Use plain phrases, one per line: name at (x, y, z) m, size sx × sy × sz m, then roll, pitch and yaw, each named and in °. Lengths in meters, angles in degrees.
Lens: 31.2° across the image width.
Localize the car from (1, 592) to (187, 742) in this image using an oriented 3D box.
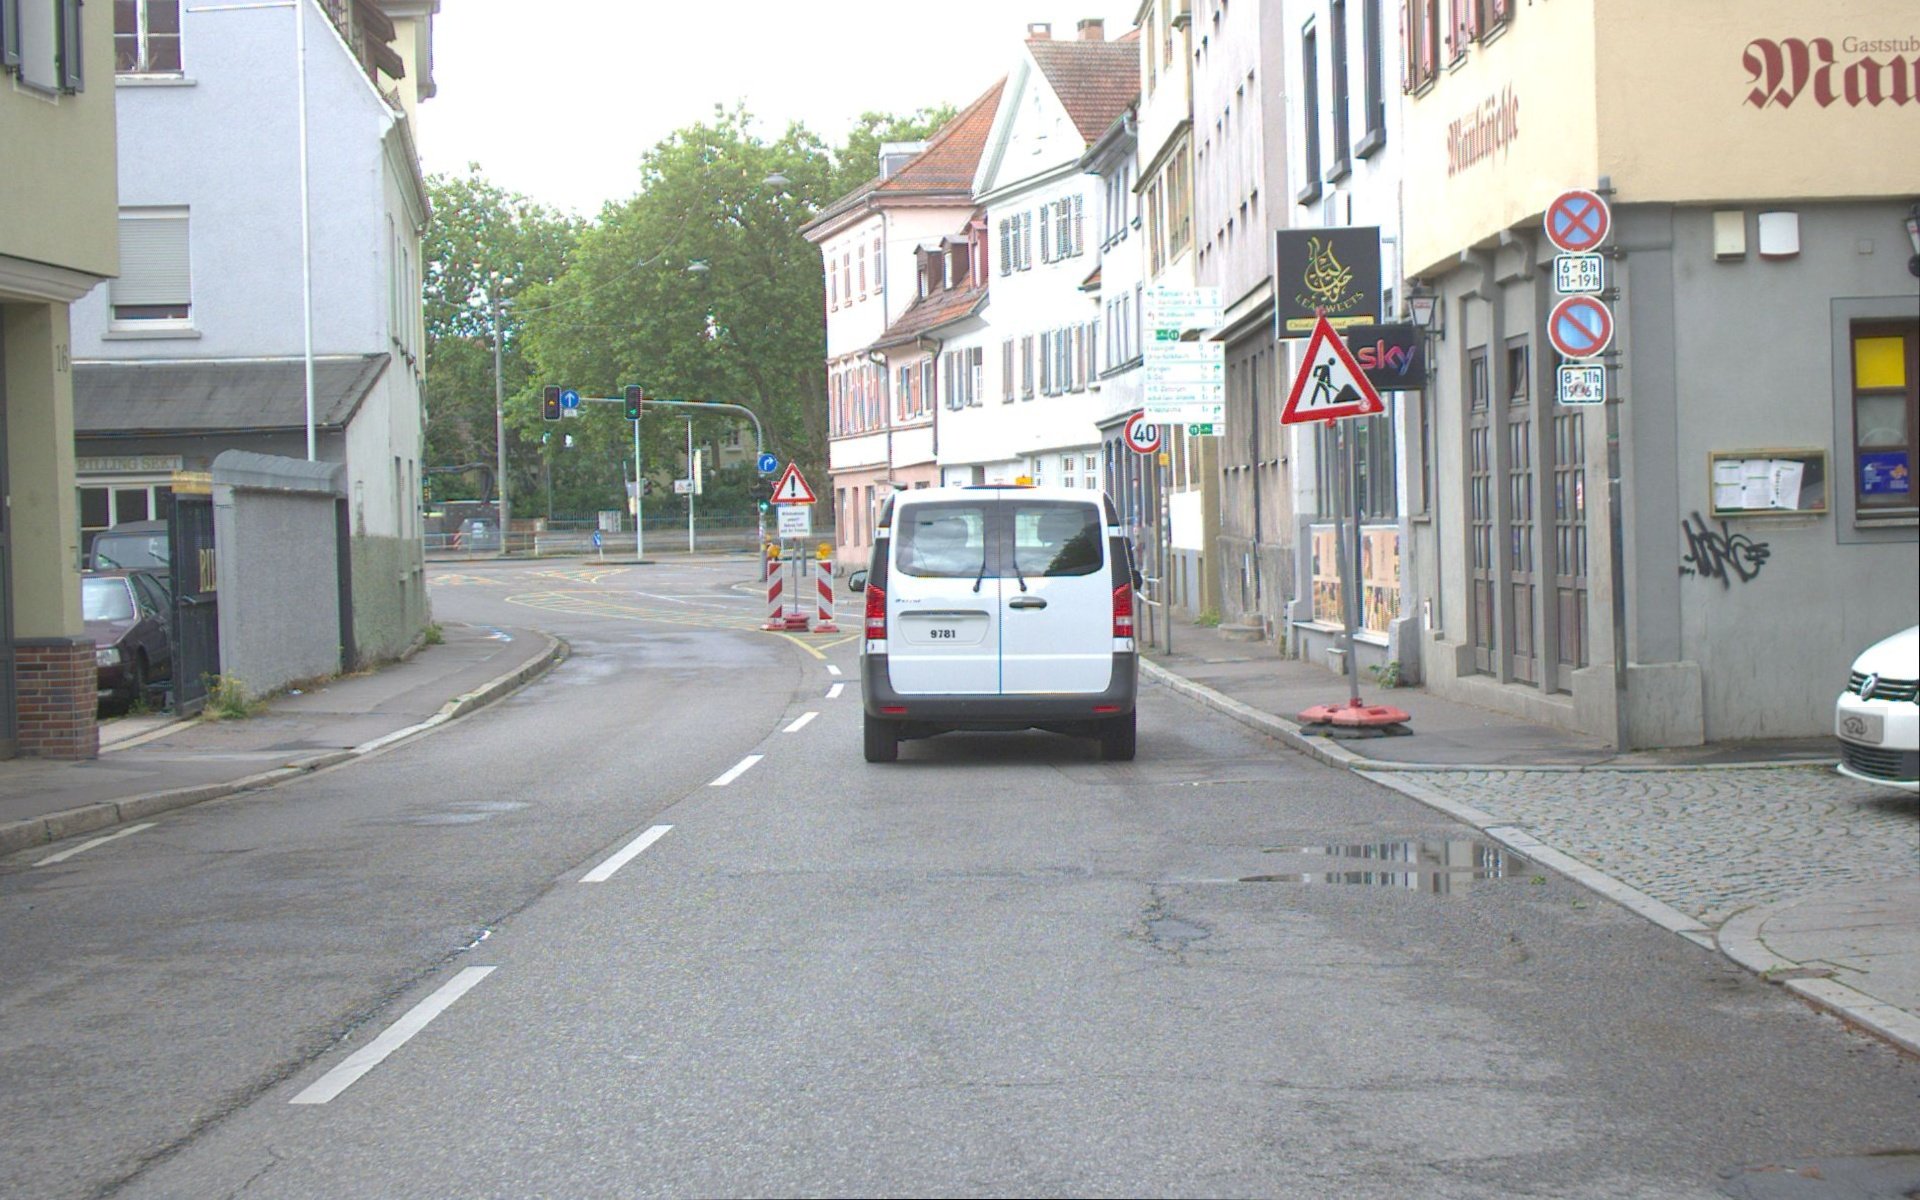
car at (-8.512, 0.627, 33.860) m, size 1.645 × 1.349 × 4.001 m, roll -1°, pitch 0°, yaw -14°

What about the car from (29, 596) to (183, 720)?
car at (-9.950, 0.651, 40.103) m, size 1.645 × 1.349 × 4.001 m, roll -1°, pitch 0°, yaw -14°

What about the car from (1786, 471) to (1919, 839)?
car at (6.692, 0.188, 17.892) m, size 4.241 × 1.791 × 1.848 m, roll -2°, pitch 2°, yaw -7°

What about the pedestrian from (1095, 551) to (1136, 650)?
pedestrian at (2.744, 0.007, 60.567) m, size 0.643 × 1.741 × 0.562 m, roll -1°, pitch 0°, yaw -4°

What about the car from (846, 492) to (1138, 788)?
car at (0.258, 0.249, 24.605) m, size 1.873 × 1.905 × 4.000 m, roll -1°, pitch 0°, yaw 1°
